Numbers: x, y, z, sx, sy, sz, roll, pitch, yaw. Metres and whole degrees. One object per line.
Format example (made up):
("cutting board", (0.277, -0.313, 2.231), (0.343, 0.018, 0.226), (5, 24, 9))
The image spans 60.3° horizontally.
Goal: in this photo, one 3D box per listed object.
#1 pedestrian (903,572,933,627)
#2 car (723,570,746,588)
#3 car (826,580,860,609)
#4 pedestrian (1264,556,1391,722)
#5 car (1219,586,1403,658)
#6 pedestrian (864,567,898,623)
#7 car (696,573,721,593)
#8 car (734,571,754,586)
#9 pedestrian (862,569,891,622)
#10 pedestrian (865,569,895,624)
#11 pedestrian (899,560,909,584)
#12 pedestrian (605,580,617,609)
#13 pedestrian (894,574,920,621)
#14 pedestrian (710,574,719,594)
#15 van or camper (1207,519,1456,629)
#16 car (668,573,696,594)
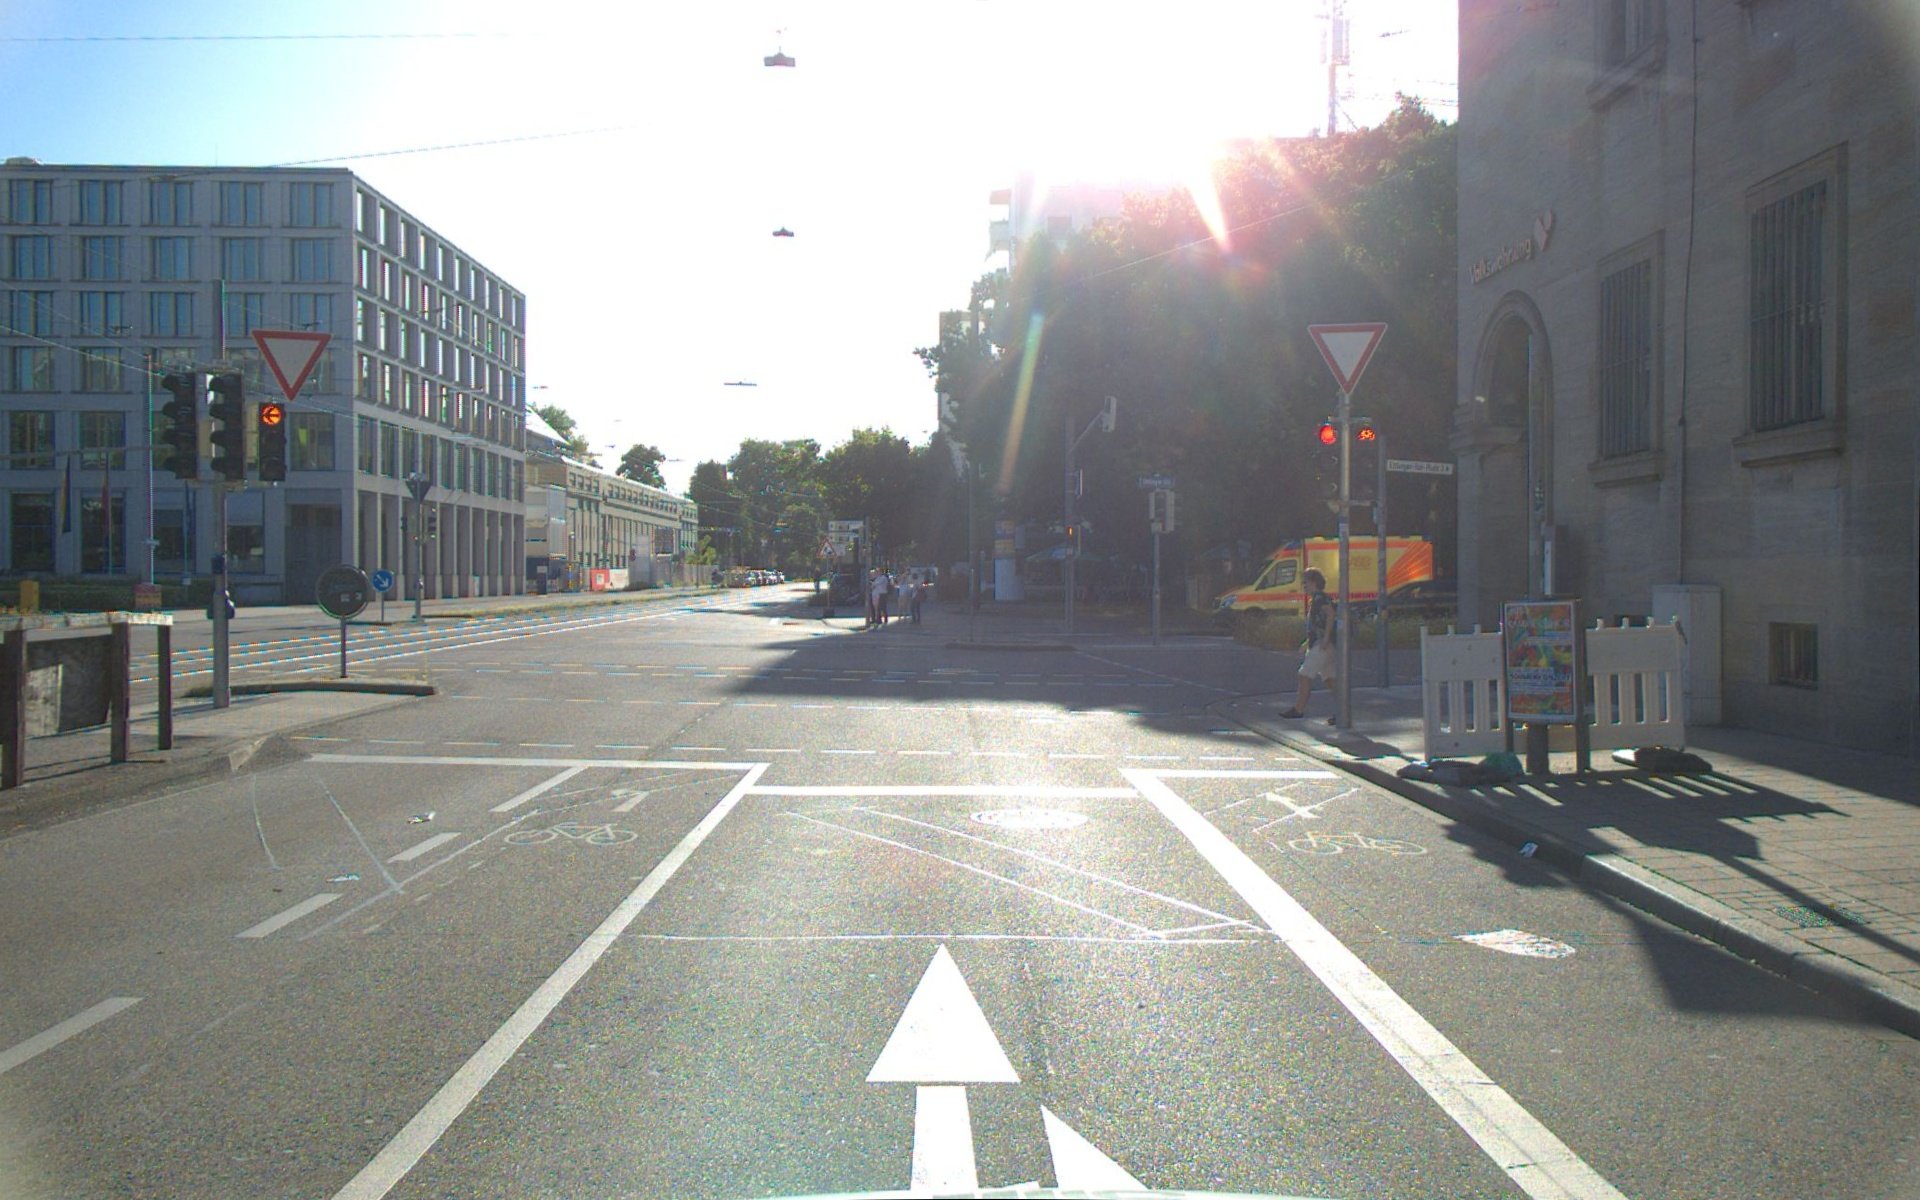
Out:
("pedestrian", (-1.395, -0.033, 55.016), (0.834, 1.815, 0.776), (0, 0, -17))
("car", (-22.446, -2.070, 164.450), (1.782, 1.742, 3.805), (0, 0, -1))
("car", (-6.473, -0.305, 91.560), (1.650, 1.527, 3.508), (1, 0, -1))
("pedestrian", (4.001, 0.410, 18.089), (1.021, 1.751, 1.032), (0, 0, -12))
("car", (8.835, 0.558, 41.854), (4.226, 1.676, 1.888), (2, -1, -1))
("pedestrian", (-2.563, -0.163, 53.777), (0.950, 1.815, 0.776), (0, 0, -17))
("car", (-23.200, -1.579, 152.728), (1.782, 1.742, 3.805), (0, 0, -1))
("car", (-21.962, -2.214, 168.558), (1.577, 1.524, 3.805), (0, 0, -1))
("pedestrian", (-2.851, -0.158, 56.281), (0.834, 1.815, 0.776), (0, 0, -17))
("pedestrian", (-2.696, -0.120, 55.461), (0.834, 1.815, 0.776), (0, 0, -17))
("pedestrian", (-8.662, -4.341, 254.684), (1.373, 3.659, 1.567), (1, -1, -1))
("pedestrian", (-16.608, -0.266, 78.751), (0.501, 1.352, 0.369), (0, 0, 0))
("pedestrian", (-1.778, -0.088, 55.689), (0.750, 1.586, 0.585), (0, 0, -17))
("pedestrian", (-18.395, -1.202, 123.923), (0.513, 1.510, 0.437), (1, -1, -2))
("van or camper", (10.560, -0.722, 47.573), (6.568, 2.911, 2.912), (1, -1, 3))
("car", (-23.806, -1.389, 141.842), (1.782, 1.742, 3.805), (0, 0, -1))
